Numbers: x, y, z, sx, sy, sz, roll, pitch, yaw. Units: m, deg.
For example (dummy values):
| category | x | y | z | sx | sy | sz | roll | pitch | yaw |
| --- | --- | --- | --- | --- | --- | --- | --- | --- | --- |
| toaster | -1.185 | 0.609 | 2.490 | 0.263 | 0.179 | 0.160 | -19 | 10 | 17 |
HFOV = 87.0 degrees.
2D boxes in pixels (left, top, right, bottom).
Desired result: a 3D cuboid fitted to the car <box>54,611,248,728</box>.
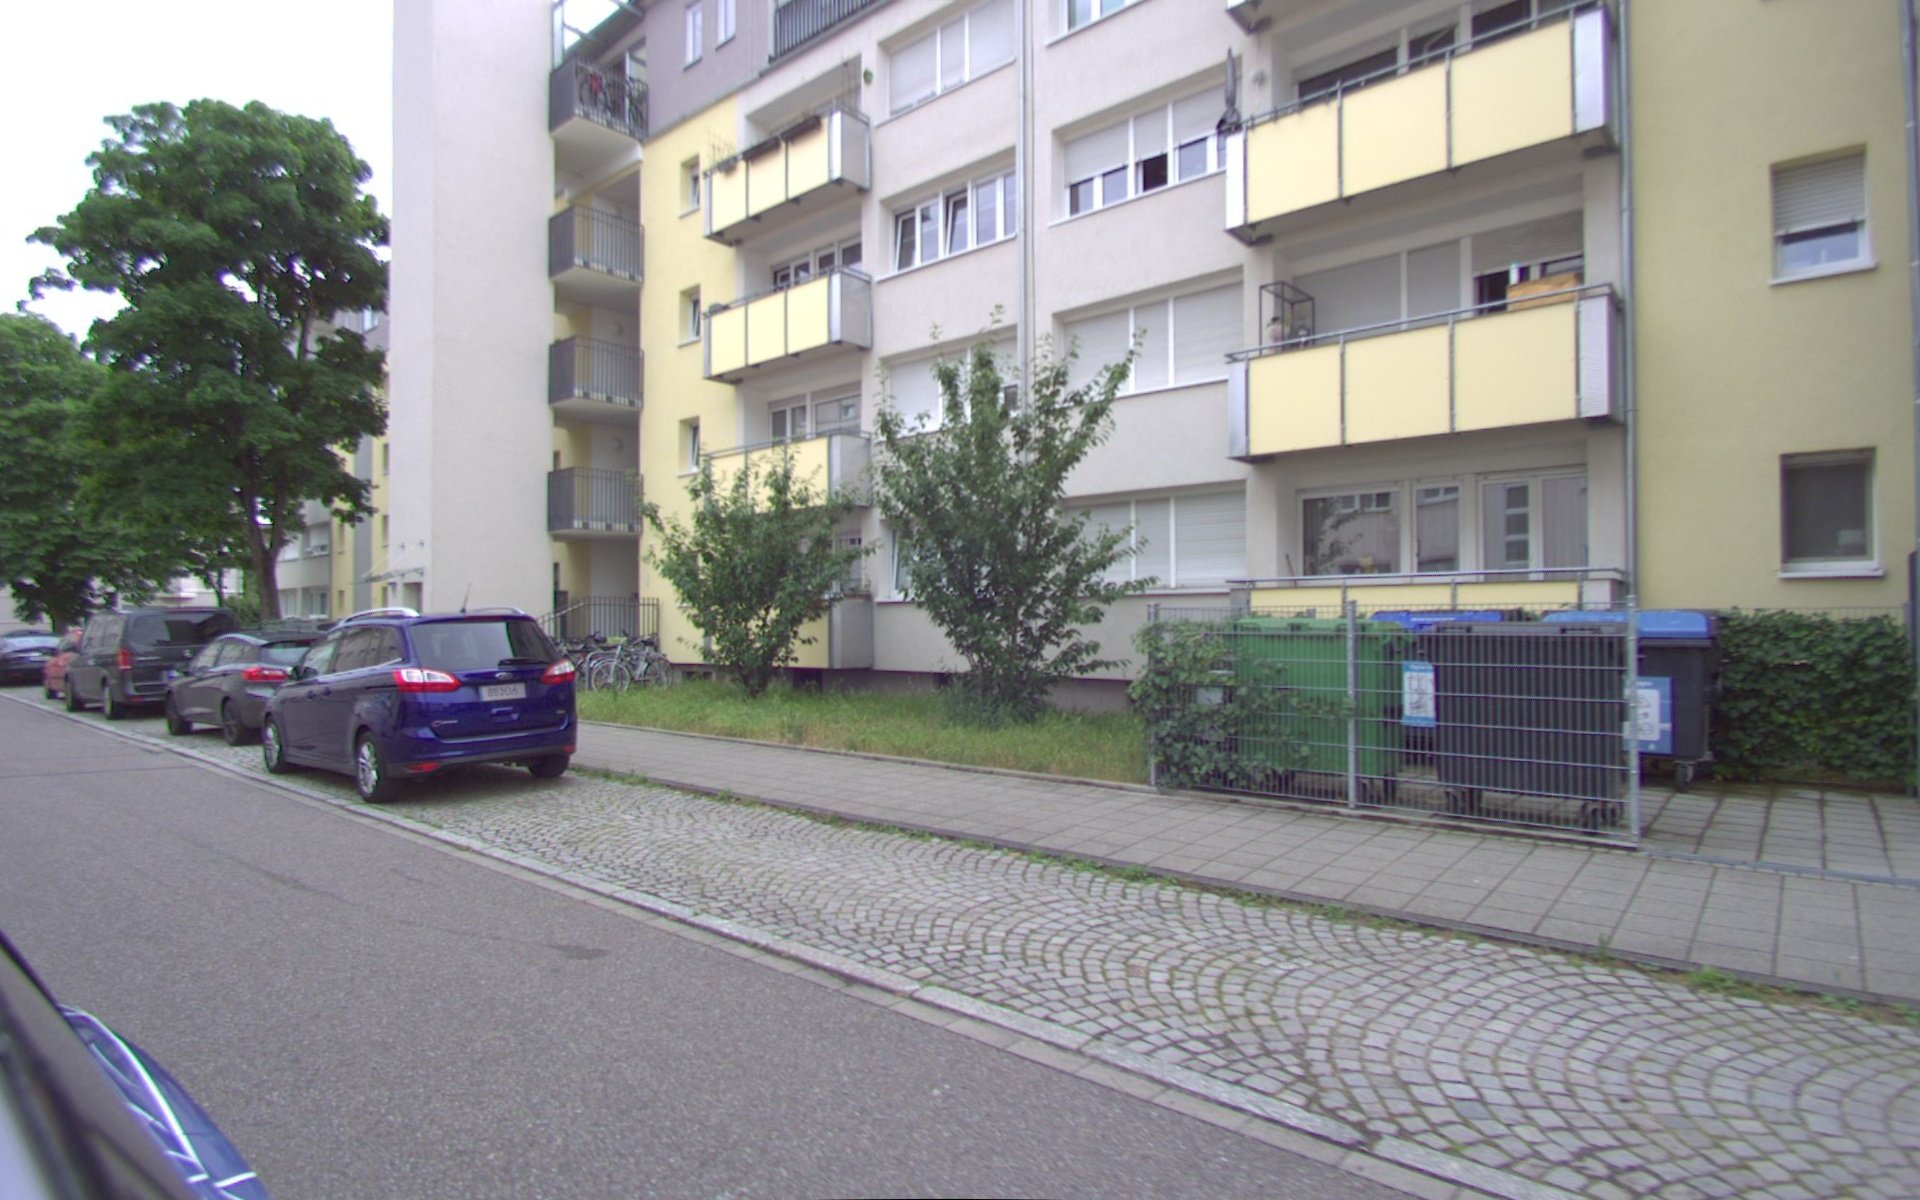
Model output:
| category | x | y | z | sx | sy | sz | roll | pitch | yaw |
| --- | --- | --- | --- | --- | --- | --- | --- | --- | --- |
| car | -14.833 | 1.175 | 18.461 | 4.782 | 1.869 | 1.867 | -2 | -2 | 40 |

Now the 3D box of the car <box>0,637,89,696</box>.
| category | x | y | z | sx | sy | sz | roll | pitch | yaw |
| --- | --- | --- | --- | --- | --- | --- | --- | --- | --- |
| car | -26.062 | 1.800 | 28.247 | 4.430 | 1.450 | 1.895 | -2 | 0 | 40 |

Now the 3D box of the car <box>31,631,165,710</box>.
| category | x | y | z | sx | sy | sz | roll | pitch | yaw |
| --- | --- | --- | --- | --- | --- | --- | --- | --- | --- |
| car | -18.765 | 1.465 | 21.991 | 3.610 | 1.580 | 1.604 | -2 | -2 | 40 |

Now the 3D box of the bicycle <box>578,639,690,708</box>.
| category | x | y | z | sx | sy | sz | roll | pitch | yaw |
| --- | --- | --- | --- | --- | --- | --- | --- | --- | --- |
| bicycle | -5.819 | 1.287 | 18.129 | 0.715 | 1.146 | 1.834 | -2 | -2 | 38 |

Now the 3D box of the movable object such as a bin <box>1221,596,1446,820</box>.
| category | x | y | z | sx | sy | sz | roll | pitch | yaw |
| --- | --- | --- | --- | --- | --- | --- | --- | --- | --- |
| movable object such as a bin | 2.820 | 0.737 | 7.659 | 1.314 | 1.512 | 0.991 | -1 | -1 | 41 |

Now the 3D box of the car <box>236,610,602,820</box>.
| category | x | y | z | sx | sy | sz | roll | pitch | yaw |
| --- | --- | --- | --- | --- | --- | --- | --- | --- | --- |
| car | -5.602 | 0.973 | 10.208 | 4.469 | 1.639 | 1.781 | -2 | -1 | 41 |

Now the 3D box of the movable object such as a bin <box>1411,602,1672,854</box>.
| category | x | y | z | sx | sy | sz | roll | pitch | yaw |
| --- | --- | --- | --- | --- | --- | --- | --- | --- | --- |
| movable object such as a bin | 3.854 | 0.759 | 6.721 | 1.314 | 1.458 | 0.991 | -1 | -1 | 41 |

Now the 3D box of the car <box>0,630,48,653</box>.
| category | x | y | z | sx | sy | sz | roll | pitch | yaw |
| --- | --- | --- | --- | --- | --- | --- | --- | --- | --- |
| car | -55.941 | 2.443 | 59.883 | 1.353 | 1.294 | 2.890 | -2 | -1 | 44 |

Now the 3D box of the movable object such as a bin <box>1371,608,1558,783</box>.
| category | x | y | z | sx | sy | sz | roll | pitch | yaw |
| --- | --- | --- | --- | --- | --- | --- | --- | --- | --- |
| movable object such as a bin | 4.635 | 0.815 | 9.319 | 1.314 | 1.458 | 0.991 | -1 | -1 | 41 |

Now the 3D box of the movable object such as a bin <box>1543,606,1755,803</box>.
| category | x | y | z | sx | sy | sz | roll | pitch | yaw |
| --- | --- | --- | --- | --- | --- | --- | --- | --- | --- |
| movable object such as a bin | 5.674 | 0.790 | 8.341 | 1.314 | 1.458 | 0.991 | -1 | -1 | 41 |

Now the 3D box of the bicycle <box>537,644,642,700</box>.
| category | x | y | z | sx | sy | sz | roll | pitch | yaw |
| --- | --- | --- | --- | --- | --- | --- | --- | --- | --- |
| bicycle | -7.284 | 1.388 | 19.935 | 1.830 | 1.028 | 0.671 | 1 | -2 | -43 |

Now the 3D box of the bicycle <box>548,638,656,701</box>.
| category | x | y | z | sx | sy | sz | roll | pitch | yaw |
| --- | --- | --- | --- | --- | --- | --- | --- | --- | --- |
| bicycle | -6.834 | 1.305 | 19.385 | 1.830 | 1.146 | 0.717 | 1 | -3 | -43 |

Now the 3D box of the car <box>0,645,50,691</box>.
| category | x | y | z | sx | sy | sz | roll | pitch | yaw |
| --- | --- | --- | --- | --- | --- | --- | --- | --- | --- |
| car | -30.238 | 2.137 | 31.971 | 4.208 | 1.274 | 1.743 | -2 | 0 | 41 |

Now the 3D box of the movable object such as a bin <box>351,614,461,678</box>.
| category | x | y | z | sx | sy | sz | roll | pitch | yaw |
| --- | --- | --- | --- | --- | --- | --- | --- | --- | --- |
| movable object such as a bin | -13.976 | 1.142 | 25.514 | 2.539 | 1.535 | 1.596 | -2 | -2 | 40 |

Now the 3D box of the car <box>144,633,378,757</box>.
| category | x | y | z | sx | sy | sz | roll | pitch | yaw |
| --- | --- | --- | --- | --- | --- | --- | --- | --- | --- |
| car | -9.834 | 1.221 | 14.153 | 3.813 | 1.456 | 1.606 | -2 | -1 | 38 |
